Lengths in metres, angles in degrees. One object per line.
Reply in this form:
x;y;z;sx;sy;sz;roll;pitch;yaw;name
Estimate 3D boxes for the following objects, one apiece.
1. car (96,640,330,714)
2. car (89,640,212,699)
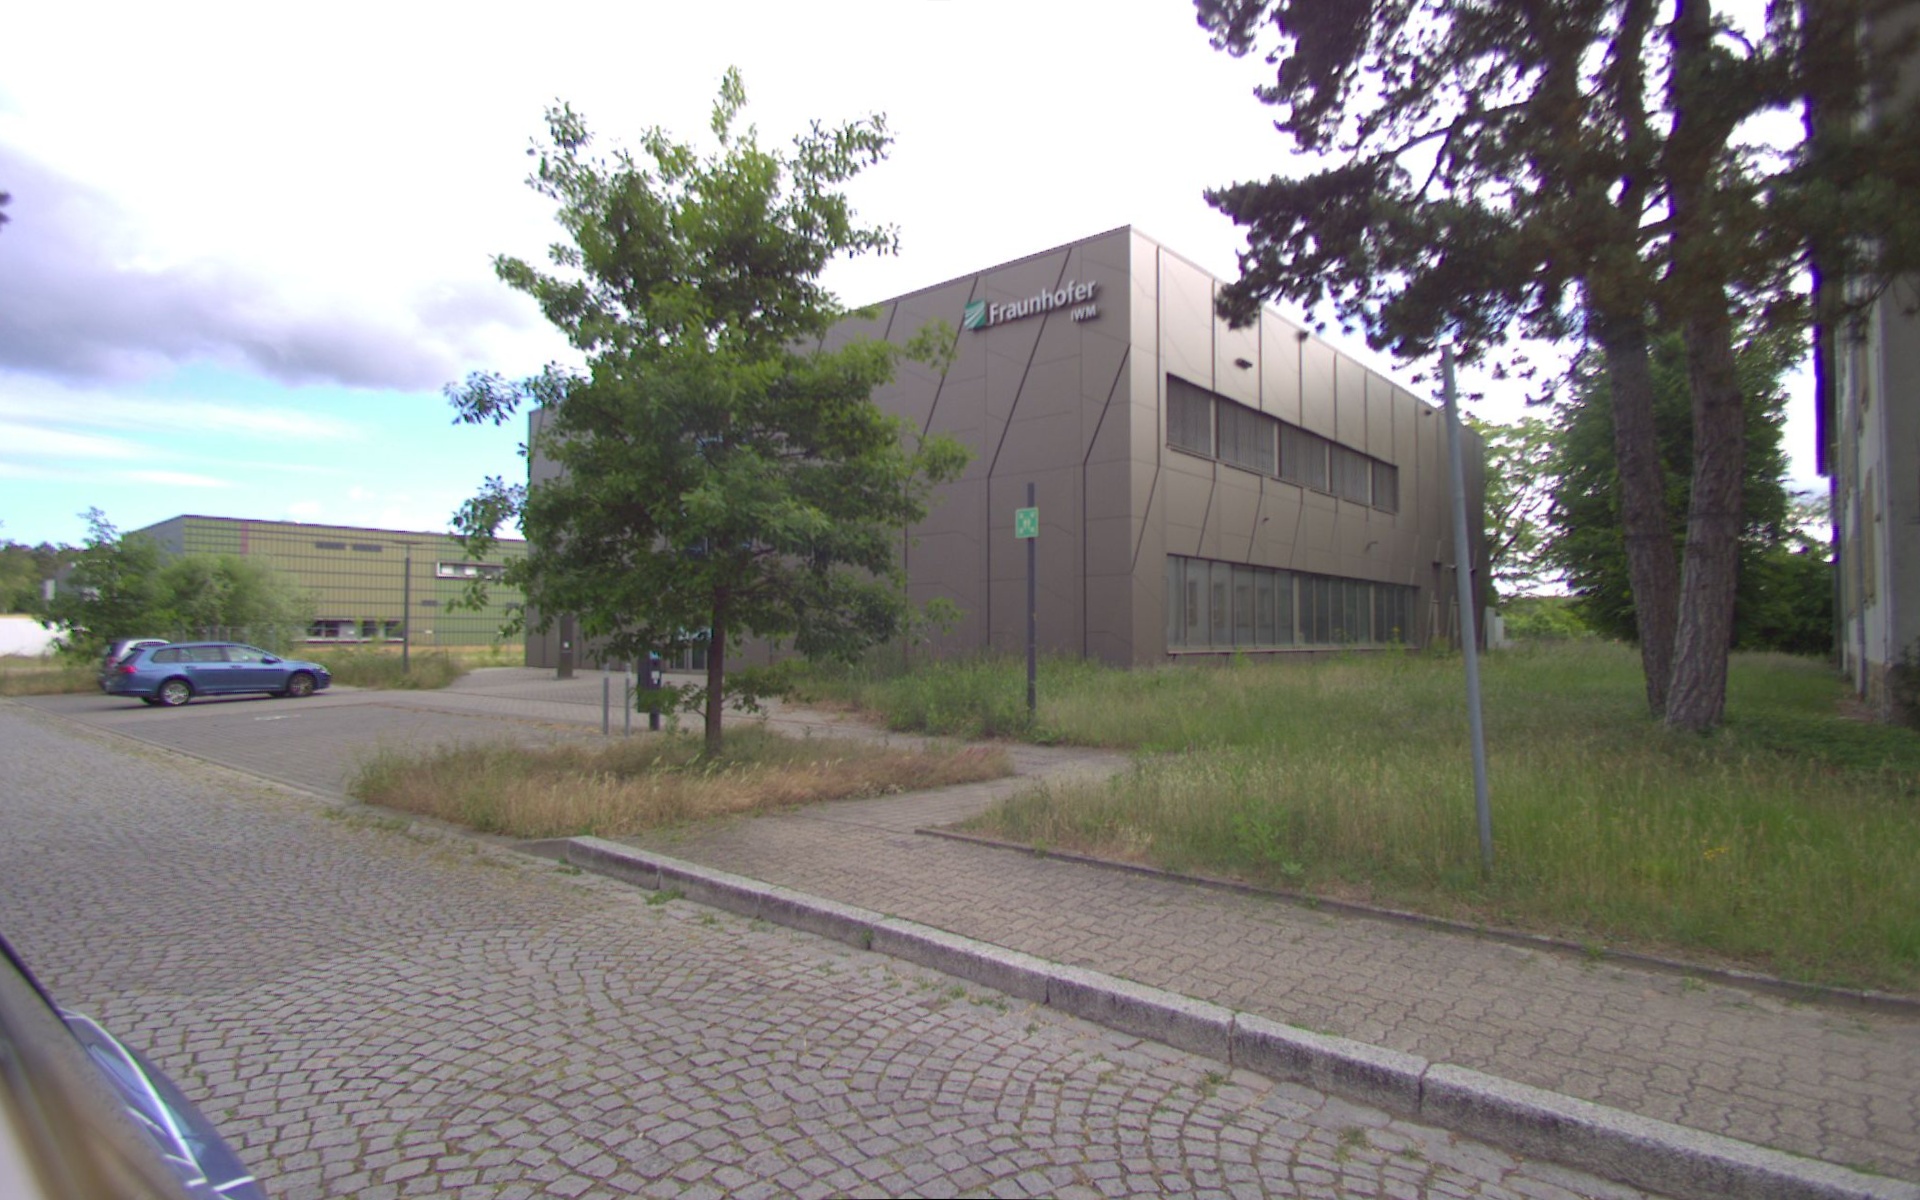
-18.244;1.820;24.896;1.631;1.481;4.372;-2;-1;38;car
-23.773;2.003;29.760;1.499;1.541;2.552;-2;-1;39;car
